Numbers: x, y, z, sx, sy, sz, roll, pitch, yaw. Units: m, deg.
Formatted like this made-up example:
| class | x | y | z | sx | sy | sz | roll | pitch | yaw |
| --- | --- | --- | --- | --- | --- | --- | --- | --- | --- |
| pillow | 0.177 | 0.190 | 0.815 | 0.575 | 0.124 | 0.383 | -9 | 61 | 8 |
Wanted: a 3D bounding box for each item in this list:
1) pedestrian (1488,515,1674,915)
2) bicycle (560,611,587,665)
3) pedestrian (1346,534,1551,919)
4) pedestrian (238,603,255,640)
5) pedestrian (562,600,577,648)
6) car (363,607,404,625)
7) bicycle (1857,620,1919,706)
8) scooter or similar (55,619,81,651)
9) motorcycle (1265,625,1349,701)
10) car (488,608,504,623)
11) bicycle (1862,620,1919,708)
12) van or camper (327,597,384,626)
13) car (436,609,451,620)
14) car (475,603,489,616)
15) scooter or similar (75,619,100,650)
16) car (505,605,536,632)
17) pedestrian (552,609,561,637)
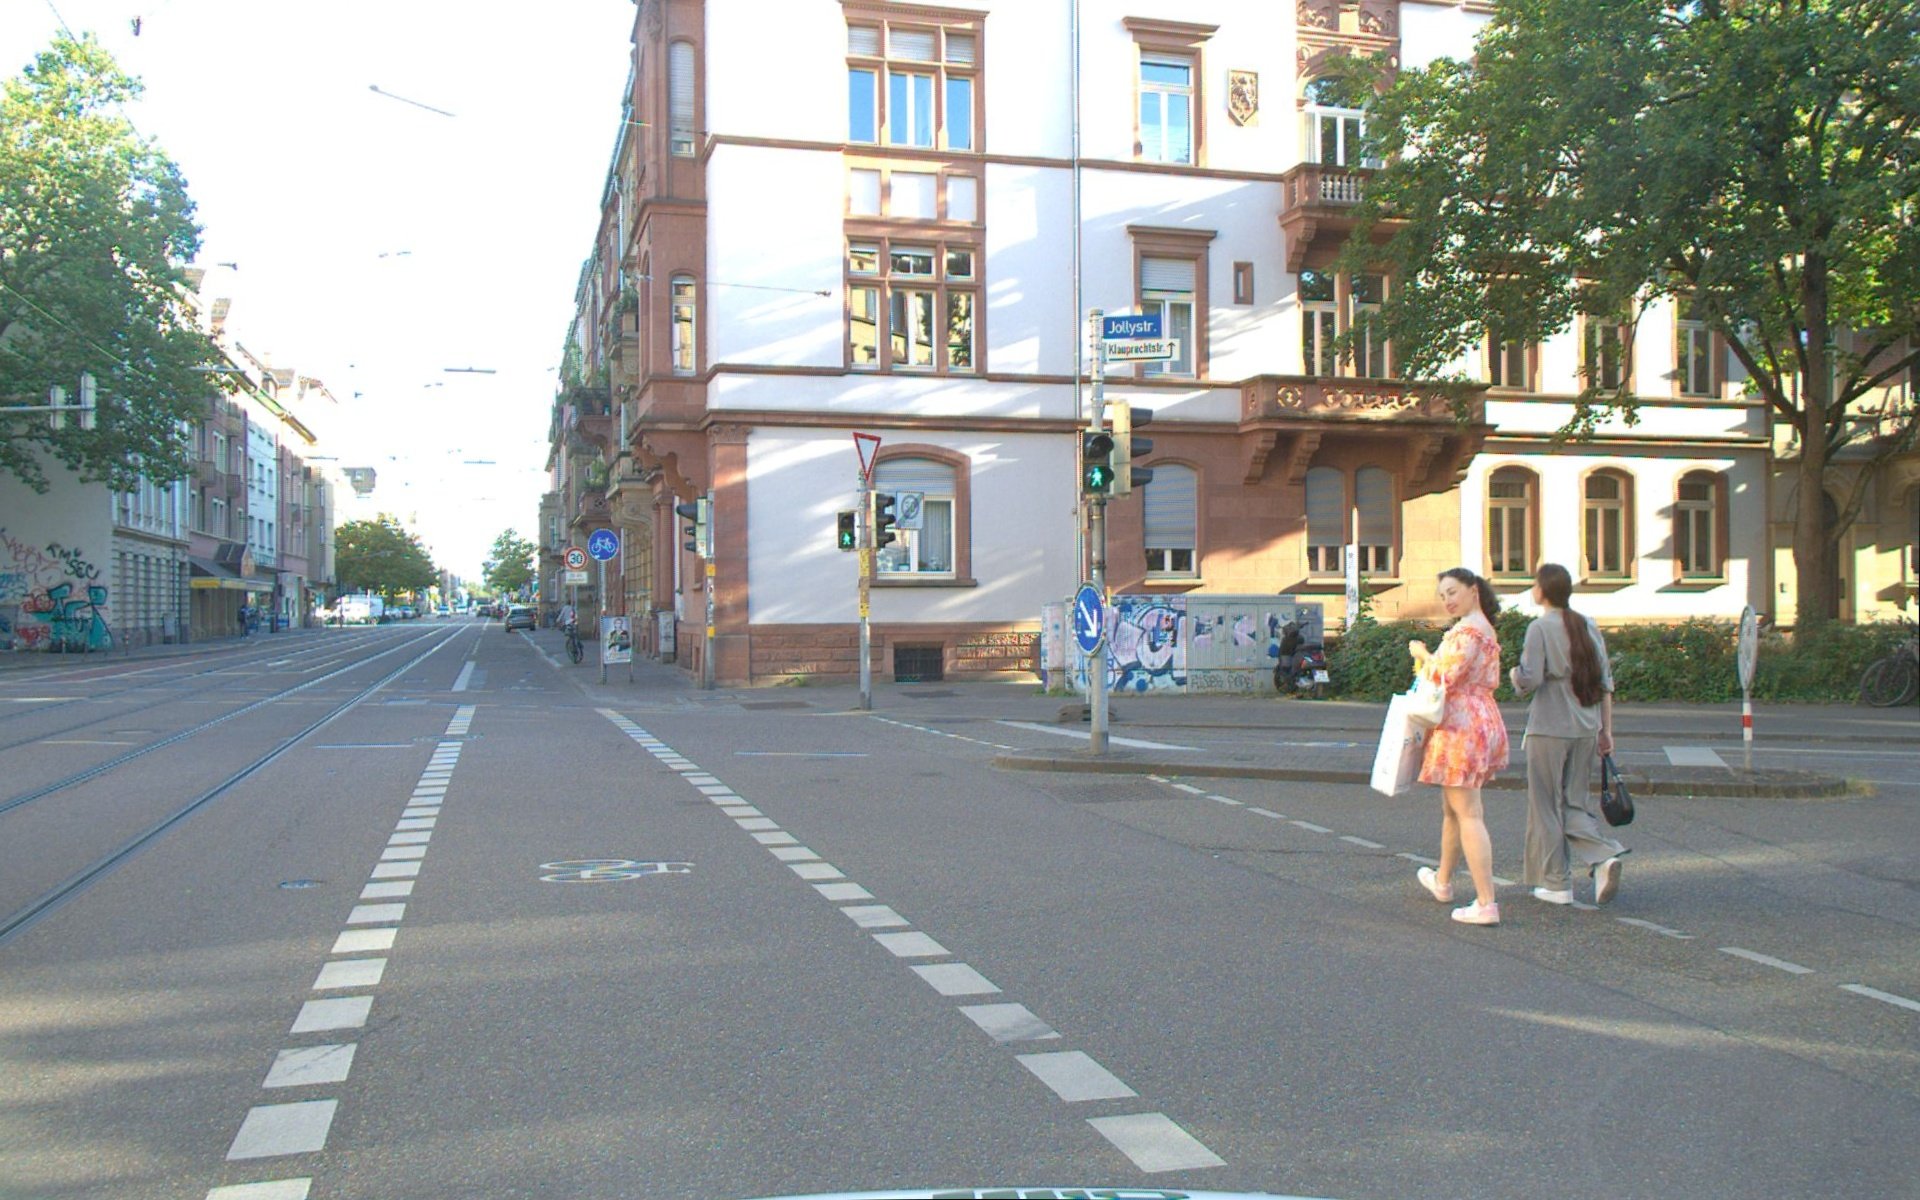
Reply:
| class | x | y | z | sx | sy | sz | roll | pitch | yaw |
| --- | --- | --- | --- | --- | --- | --- | --- | --- | --- |
| pedestrian | 3.141 | 0.560 | 8.423 | 0.676 | 1.942 | 0.671 | -2 | 1 | 4 |
| bicycle | -10.019 | 0.960 | 42.876 | 0.642 | 1.347 | 2.169 | 0 | 0 | -13 |
| pedestrian | 2.423 | 0.603 | 8.281 | 0.789 | 1.831 | 0.761 | 0 | 0 | -1 |
| pedestrian | -34.675 | 1.054 | 80.373 | 0.690 | 1.759 | 0.645 | 0 | 0 | -16 |
| pedestrian | -14.750 | 0.899 | 62.404 | 0.535 | 1.811 | 0.502 | 0 | -1 | -15 |
| car | -65.258 | 1.802 | 187.165 | 3.964 | 2.049 | 1.970 | 0 | 0 | -41 |
| bicycle | 13.749 | 0.882 | 23.376 | 1.820 | 1.182 | 0.559 | -1 | 1 | 22 |
| scooter or similar | -31.268 | 1.218 | 57.983 | 0.508 | 1.064 | 1.471 | 0 | 0 | -17 |
| motorcycle | 5.499 | 0.974 | 26.351 | 0.705 | 1.037 | 2.285 | 0 | 2 | -4 |
| car | -57.249 | 1.896 | 204.072 | 1.961 | 1.758 | 3.982 | 0 | -1 | -16 |
| bicycle | 13.521 | 0.874 | 22.819 | 1.820 | 1.182 | 0.559 | -1 | 1 | 22 |
| van or camper | -55.999 | 1.062 | 153.329 | 1.965 | 2.608 | 4.620 | -1 | -1 | 43 |
| car | -70.963 | 1.945 | 227.181 | 1.790 | 1.467 | 3.983 | 0 | -1 | -16 |
| car | -68.973 | 1.407 | 238.688 | 1.961 | 1.758 | 3.982 | 0 | -1 | -16 |
| scooter or similar | -30.692 | 1.214 | 58.187 | 0.508 | 1.076 | 1.471 | 0 | 0 | -17 |
| car | -29.010 | 1.222 | 109.321 | 1.917 | 1.713 | 3.984 | 0 | 0 | -15 |
| pedestrian | -25.965 | 1.482 | 106.378 | 0.535 | 1.811 | 0.746 | 0 | -1 | -15 |
